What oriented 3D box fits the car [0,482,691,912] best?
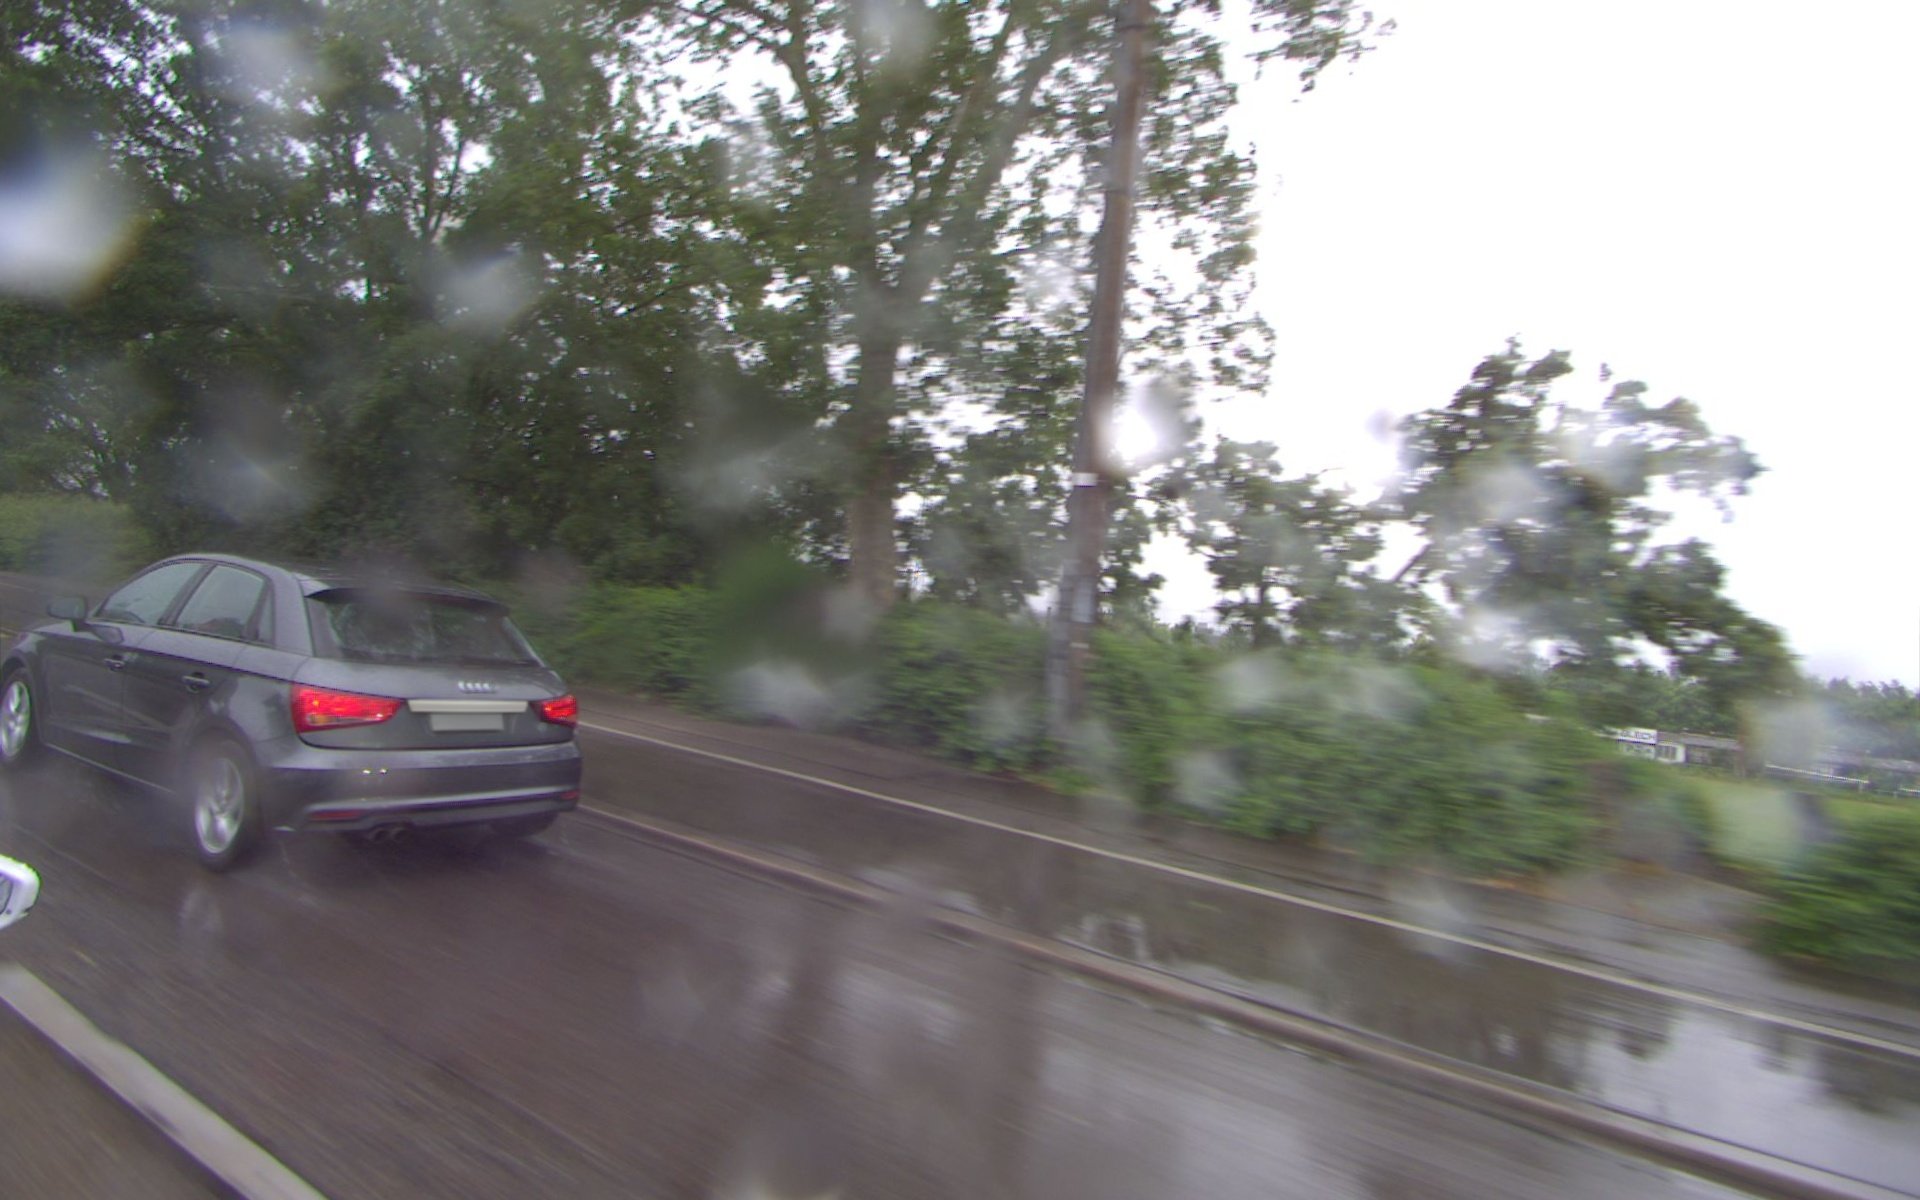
[{"bbox_3d":[-3.800,0.359,5.870,3.923,1.546,1.972,7,-1,30],"label":"car"}]
